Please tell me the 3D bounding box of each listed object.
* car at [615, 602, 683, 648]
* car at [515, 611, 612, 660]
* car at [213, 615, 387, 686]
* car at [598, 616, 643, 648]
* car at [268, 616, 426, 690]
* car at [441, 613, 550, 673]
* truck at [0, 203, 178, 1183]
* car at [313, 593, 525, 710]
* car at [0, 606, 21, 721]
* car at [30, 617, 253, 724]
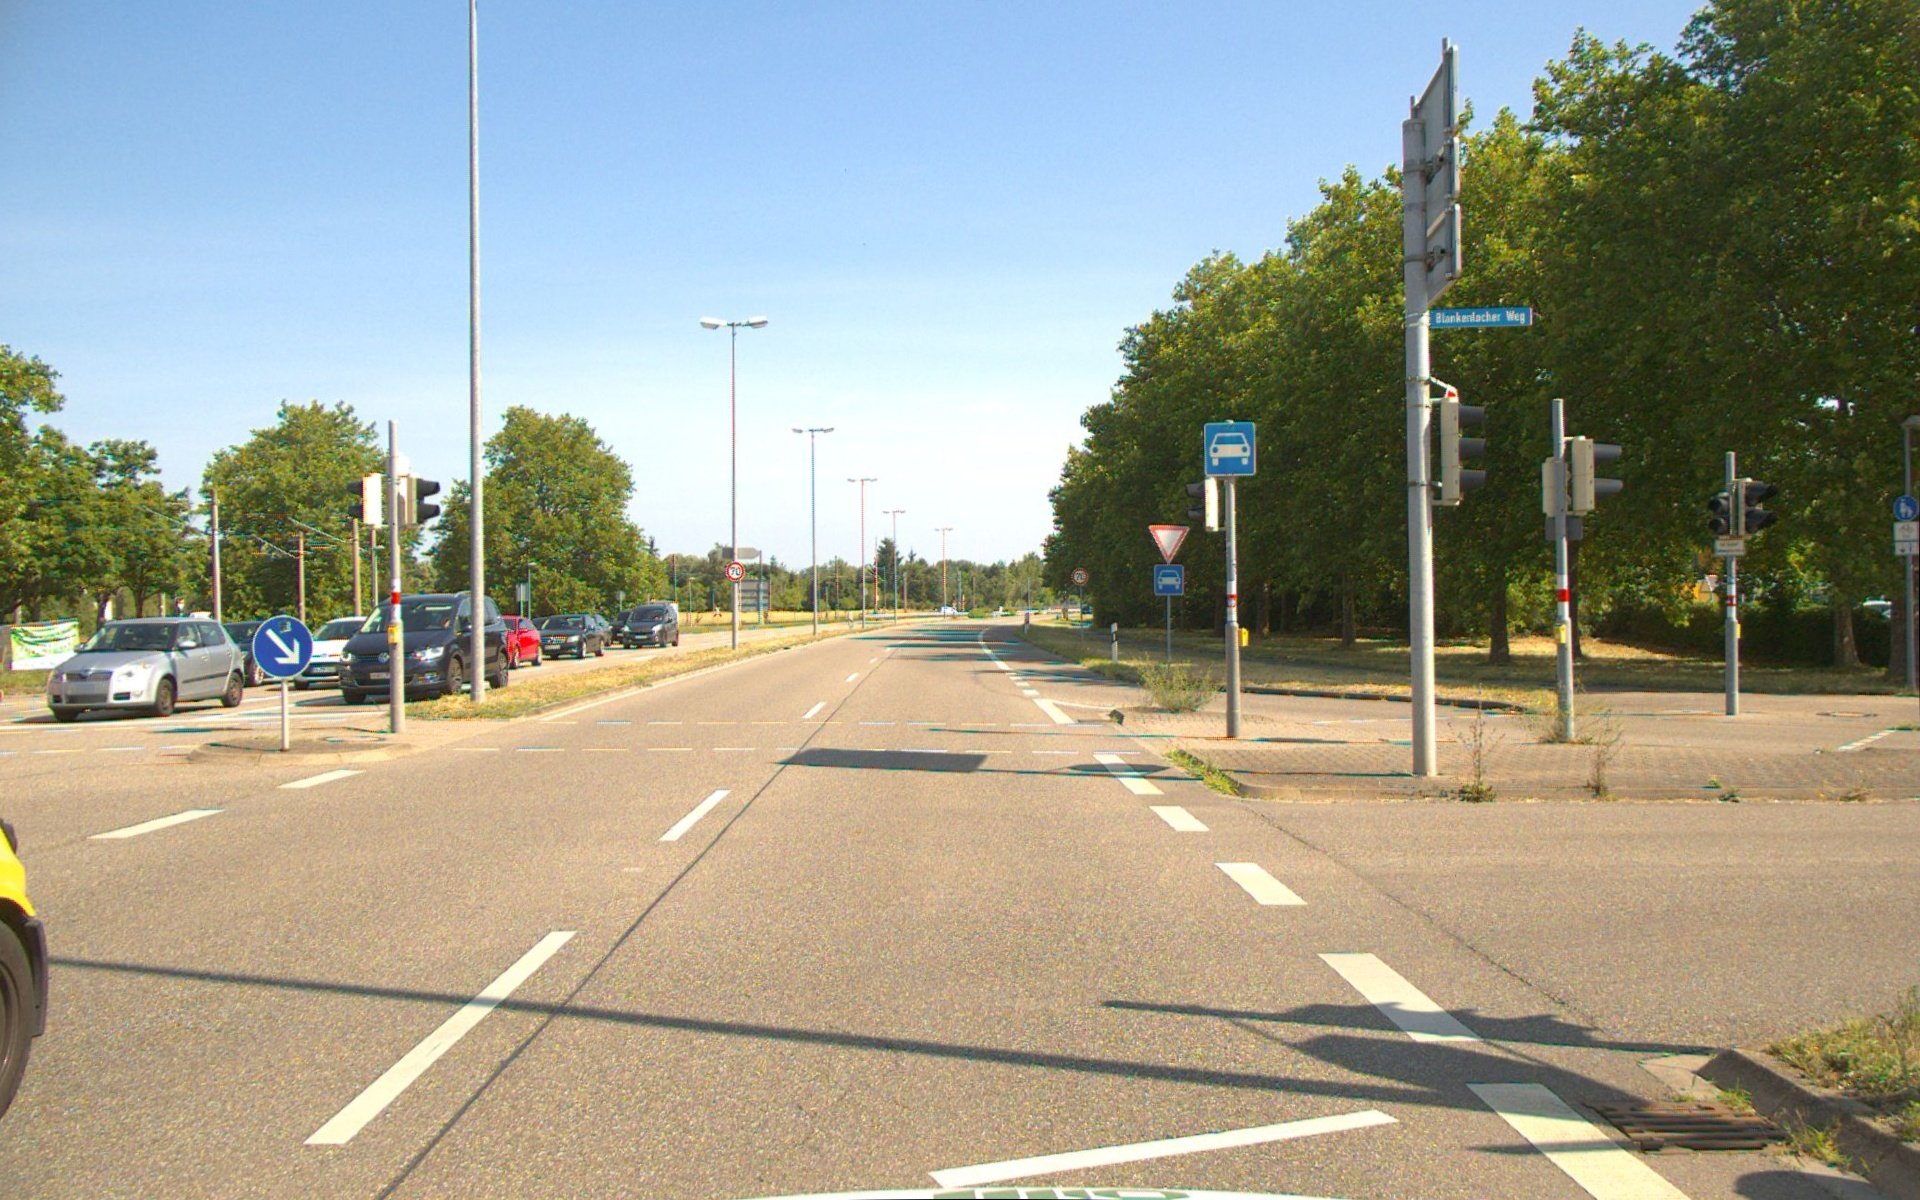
[{"bbox_3d":[-12.887,1.024,68.768,1.940,1.811,4.489,-1,0,0],"label":"car"},{"bbox_3d":[-12.751,1.126,53.499,1.940,1.483,4.451,-1,0,1],"label":"car"},{"bbox_3d":[-15.539,1.141,39.307,1.953,1.500,5.615,-1,0,-1],"label":"car"},{"bbox_3d":[-16.888,1.585,82.485,1.944,1.483,4.221,-1,0,-8],"label":"car"},{"bbox_3d":[-12.831,1.077,34.859,1.791,1.410,3.844,-1,0,1],"label":"car"},{"bbox_3d":[-12.503,1.130,44.737,1.778,1.511,4.000,-1,0,0],"label":"car"},{"bbox_3d":[-3.434,0.223,2.220,2.069,2.500,5.915,0,0,-1],"label":"truck"},{"bbox_3d":[-8.901,0.803,27.647,1.940,1.781,4.508,-1,0,1],"label":"car"},{"bbox_3d":[-15.826,1.018,24.455,1.671,1.800,4.225,-2,0,-4],"label":"car"},{"bbox_3d":[-12.524,1.026,25.582,1.586,1.483,3.870,-1,0,-2],"label":"car"}]
